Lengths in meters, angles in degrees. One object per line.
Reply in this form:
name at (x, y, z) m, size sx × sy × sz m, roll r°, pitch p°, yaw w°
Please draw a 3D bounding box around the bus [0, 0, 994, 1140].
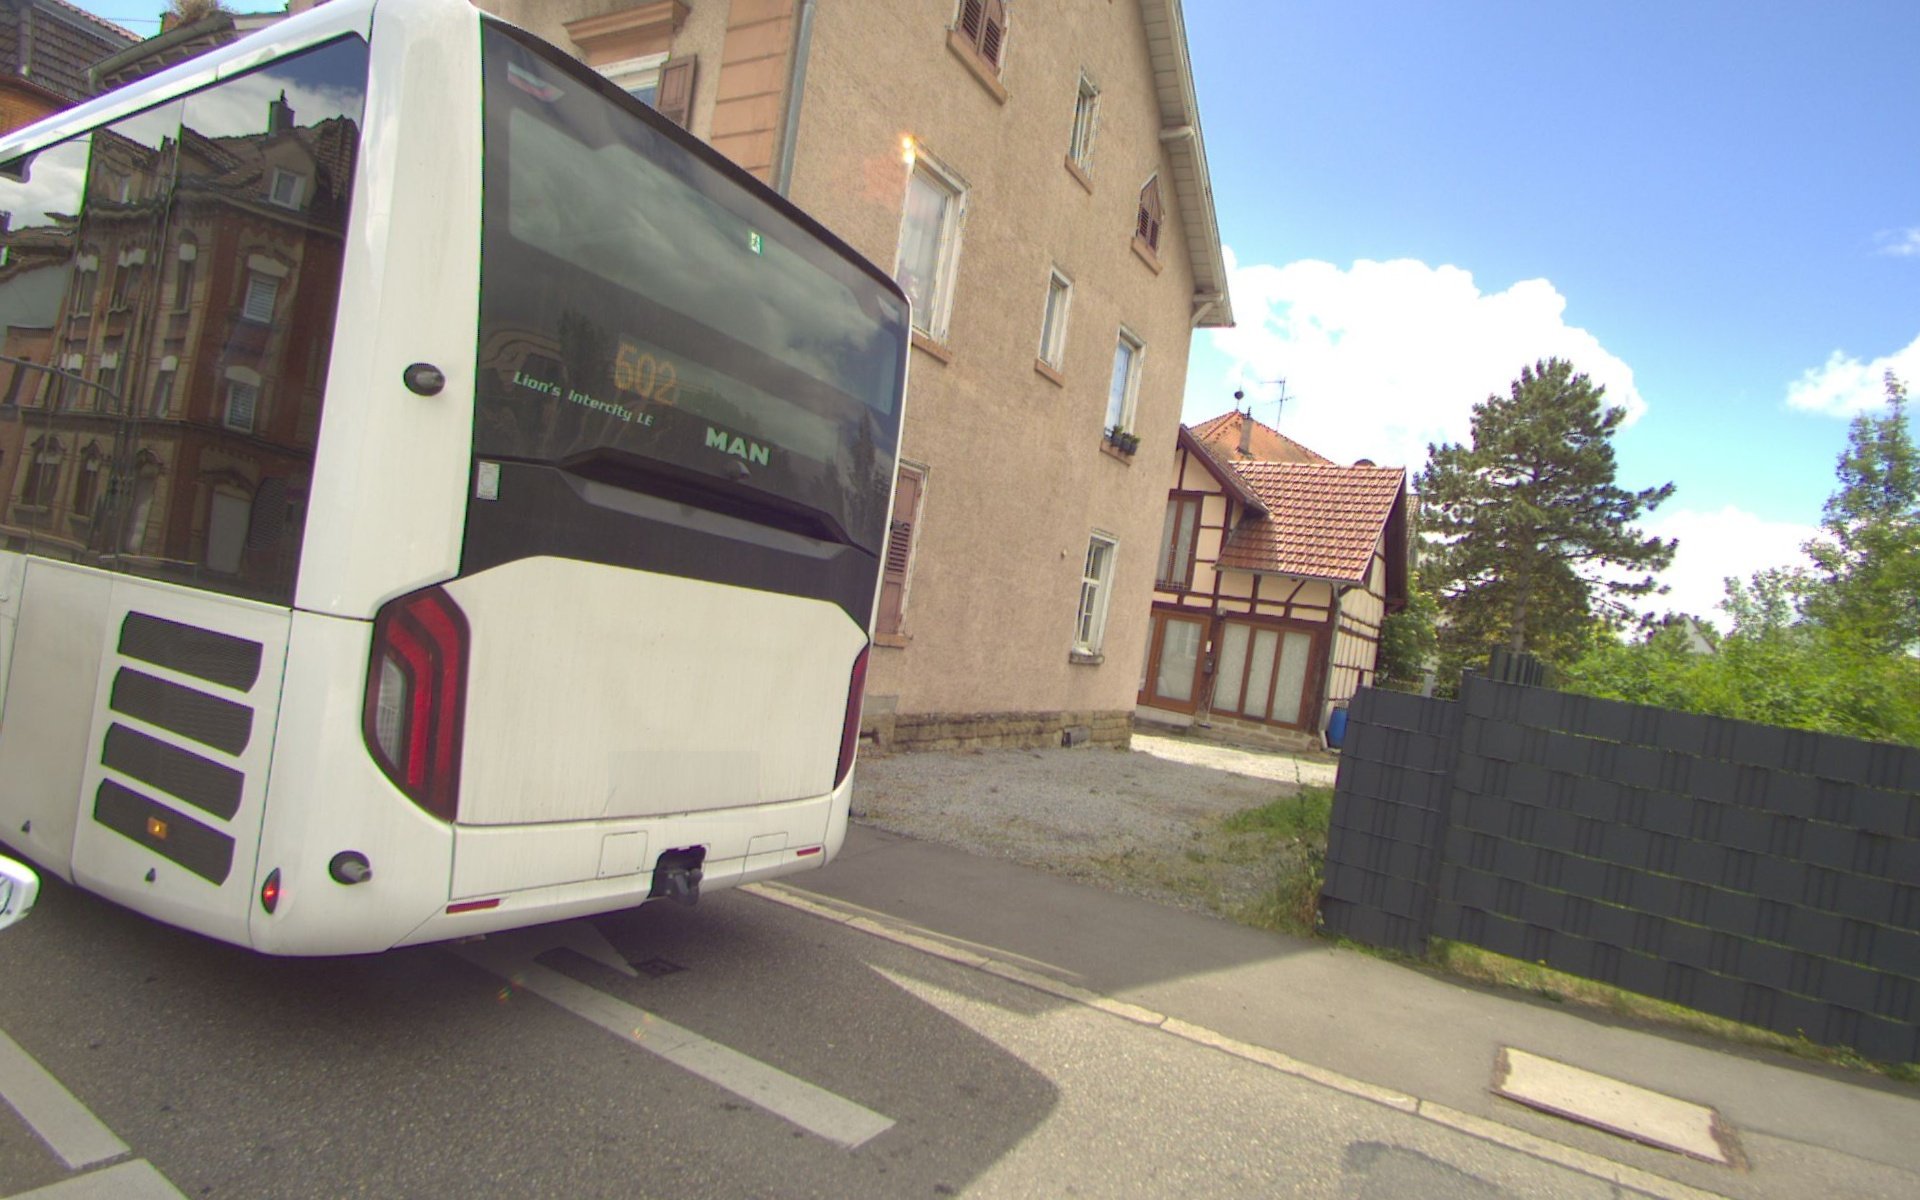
bus at (-5.972, -0.875, 6.845) m, size 12.281 × 3.551 × 2.910 m, roll 6°, pitch -2°, yaw 32°
